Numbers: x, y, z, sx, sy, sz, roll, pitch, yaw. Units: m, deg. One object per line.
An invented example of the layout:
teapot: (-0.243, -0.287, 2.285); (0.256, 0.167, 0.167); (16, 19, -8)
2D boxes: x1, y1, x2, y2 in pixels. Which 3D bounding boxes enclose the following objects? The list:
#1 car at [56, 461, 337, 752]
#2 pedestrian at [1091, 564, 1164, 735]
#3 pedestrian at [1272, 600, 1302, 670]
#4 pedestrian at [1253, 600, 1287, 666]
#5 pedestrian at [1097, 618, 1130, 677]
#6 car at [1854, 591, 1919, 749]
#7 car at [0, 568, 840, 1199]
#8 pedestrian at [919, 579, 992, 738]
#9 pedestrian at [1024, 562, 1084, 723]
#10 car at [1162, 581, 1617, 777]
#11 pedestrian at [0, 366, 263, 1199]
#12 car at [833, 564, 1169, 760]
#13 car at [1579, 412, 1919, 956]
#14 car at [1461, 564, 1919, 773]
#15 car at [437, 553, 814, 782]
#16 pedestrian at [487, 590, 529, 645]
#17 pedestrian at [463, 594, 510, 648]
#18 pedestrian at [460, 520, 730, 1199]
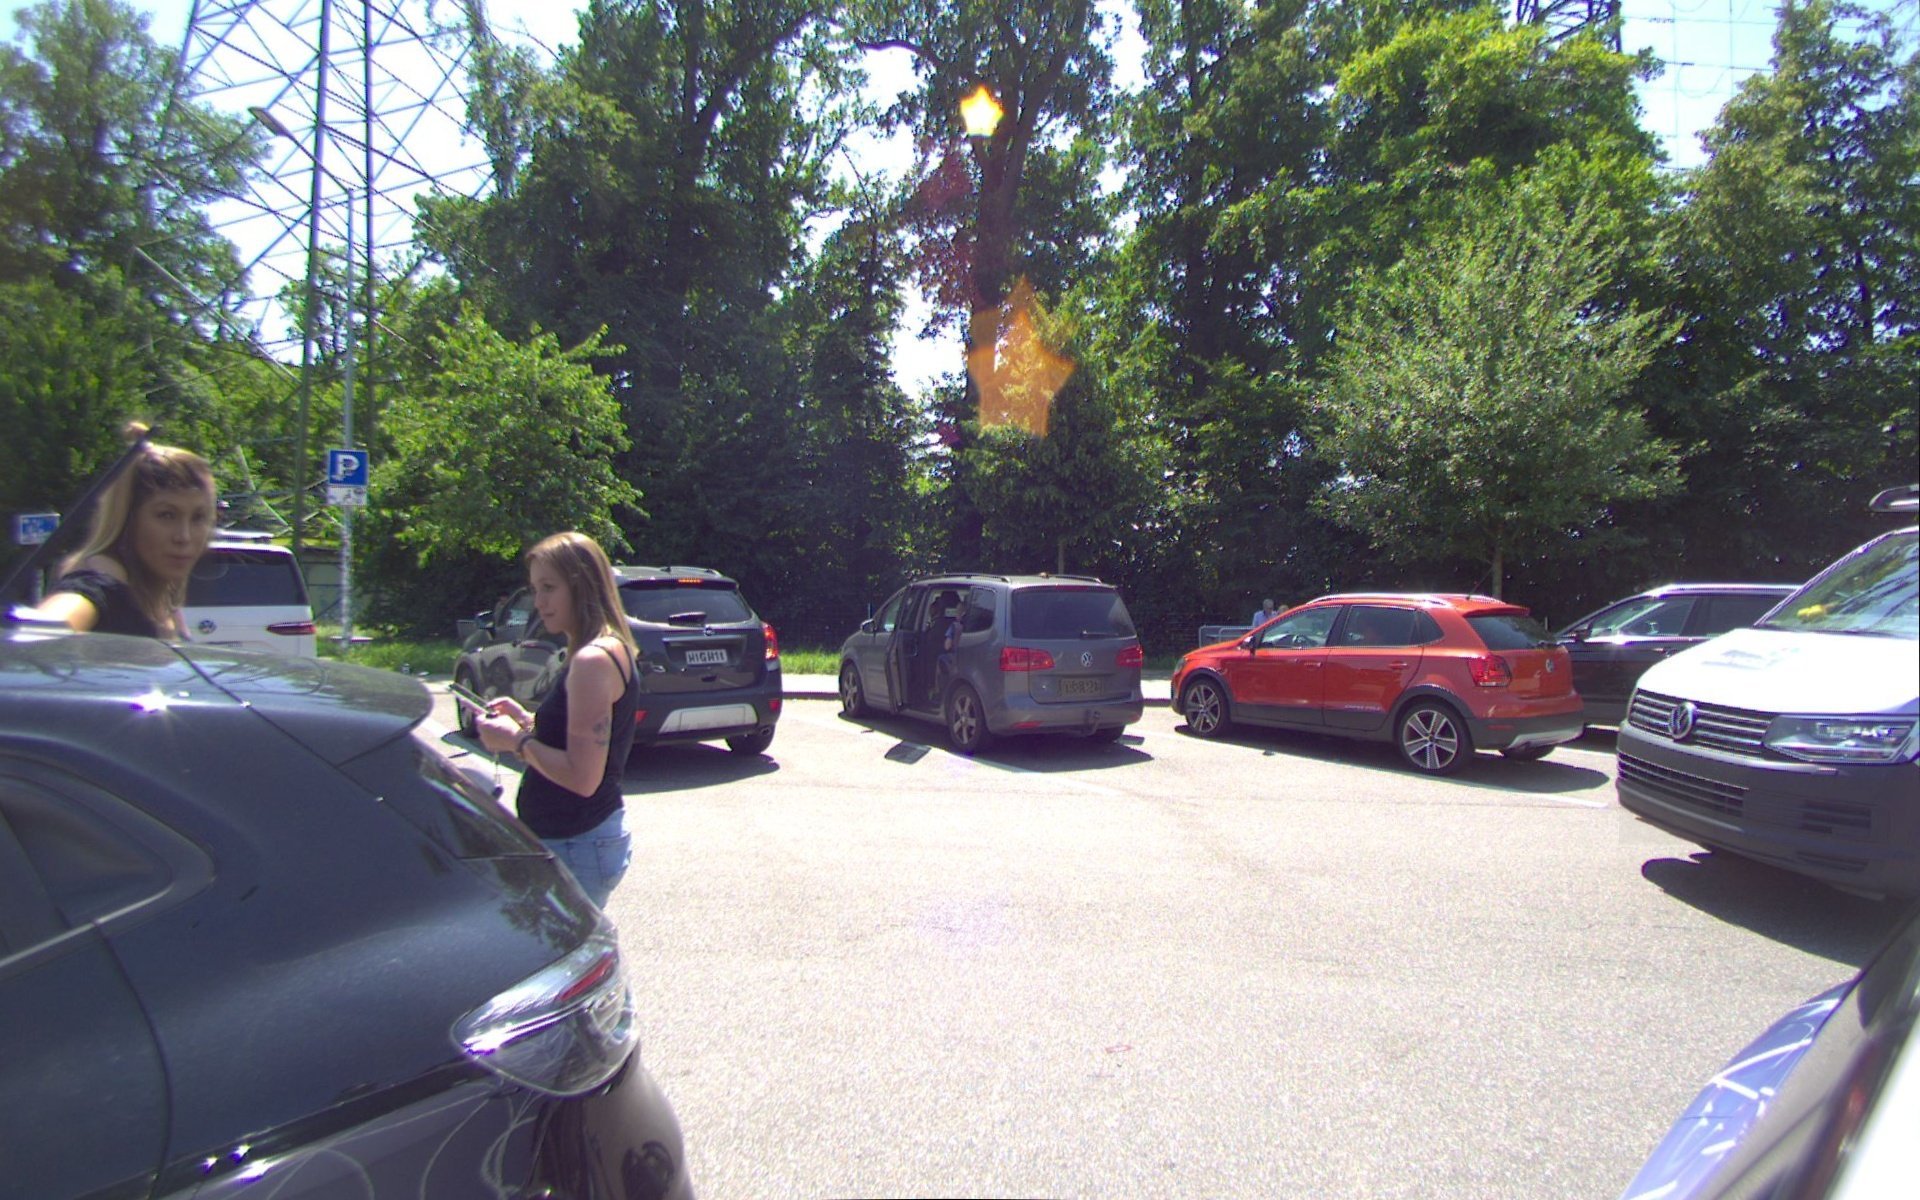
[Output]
car: (-8.341, 0.045, 10.840); (1.897, 2.400, 4.963); (1, -1, -43)
pedestrian: (1.754, 0.499, 10.629); (0.576, 1.744, 0.483); (0, 0, -20)
pedestrian: (5.805, 0.615, 17.996); (0.348, 1.207, 0.367); (0, 0, -20)
pedestrian: (5.820, 0.606, 18.999); (0.433, 1.207, 0.414); (0, 0, -30)
pedestrian: (2.415, 0.732, 15.874); (0.494, 0.890, 0.512); (0, 0, 10)
car: (10.514, 0.671, 8.836); (1.813, 1.473, 3.776); (1, 0, -36)
car: (-2.045, 0.720, 0.751); (1.776, 1.476, 3.629); (0, 0, 43)
pedestrian: (-0.050, 0.555, 10.051); (0.511, 1.516, 0.560); (0, 0, -30)
pedestrian: (1.046, 0.456, 11.298); (0.500, 1.744, 0.438); (0, 0, -24)
car: (3.864, 0.596, 9.677); (1.588, 1.485, 3.751); (1, 0, -34)
pedestrian: (-1.970, 0.494, 2.385); (0.478, 1.883, 0.913); (1, -1, -33)
car: (0.217, 0.505, 10.560); (1.670, 1.637, 3.912); (0, 0, -30)
car: (6.181, 0.346, 4.700); (5.336, 2.131, 1.842); (1, 1, 4)
car: (7.152, 0.536, 9.720); (1.679, 1.637, 3.863); (1, 0, -40)
car: (-3.283, 0.479, 9.420); (1.807, 1.637, 4.159); (1, 0, -42)
pedestrian: (-10.971, 0.412, 24.568); (0.539, 1.318, 0.758); (0, 0, 37)
pedestrian: (-10.693, 0.466, 22.858); (0.785, 1.178, 0.696); (0, 0, 39)
pedestrian: (-0.942, 0.627, 2.609); (0.477, 1.614, 0.502); (1, -1, -44)
